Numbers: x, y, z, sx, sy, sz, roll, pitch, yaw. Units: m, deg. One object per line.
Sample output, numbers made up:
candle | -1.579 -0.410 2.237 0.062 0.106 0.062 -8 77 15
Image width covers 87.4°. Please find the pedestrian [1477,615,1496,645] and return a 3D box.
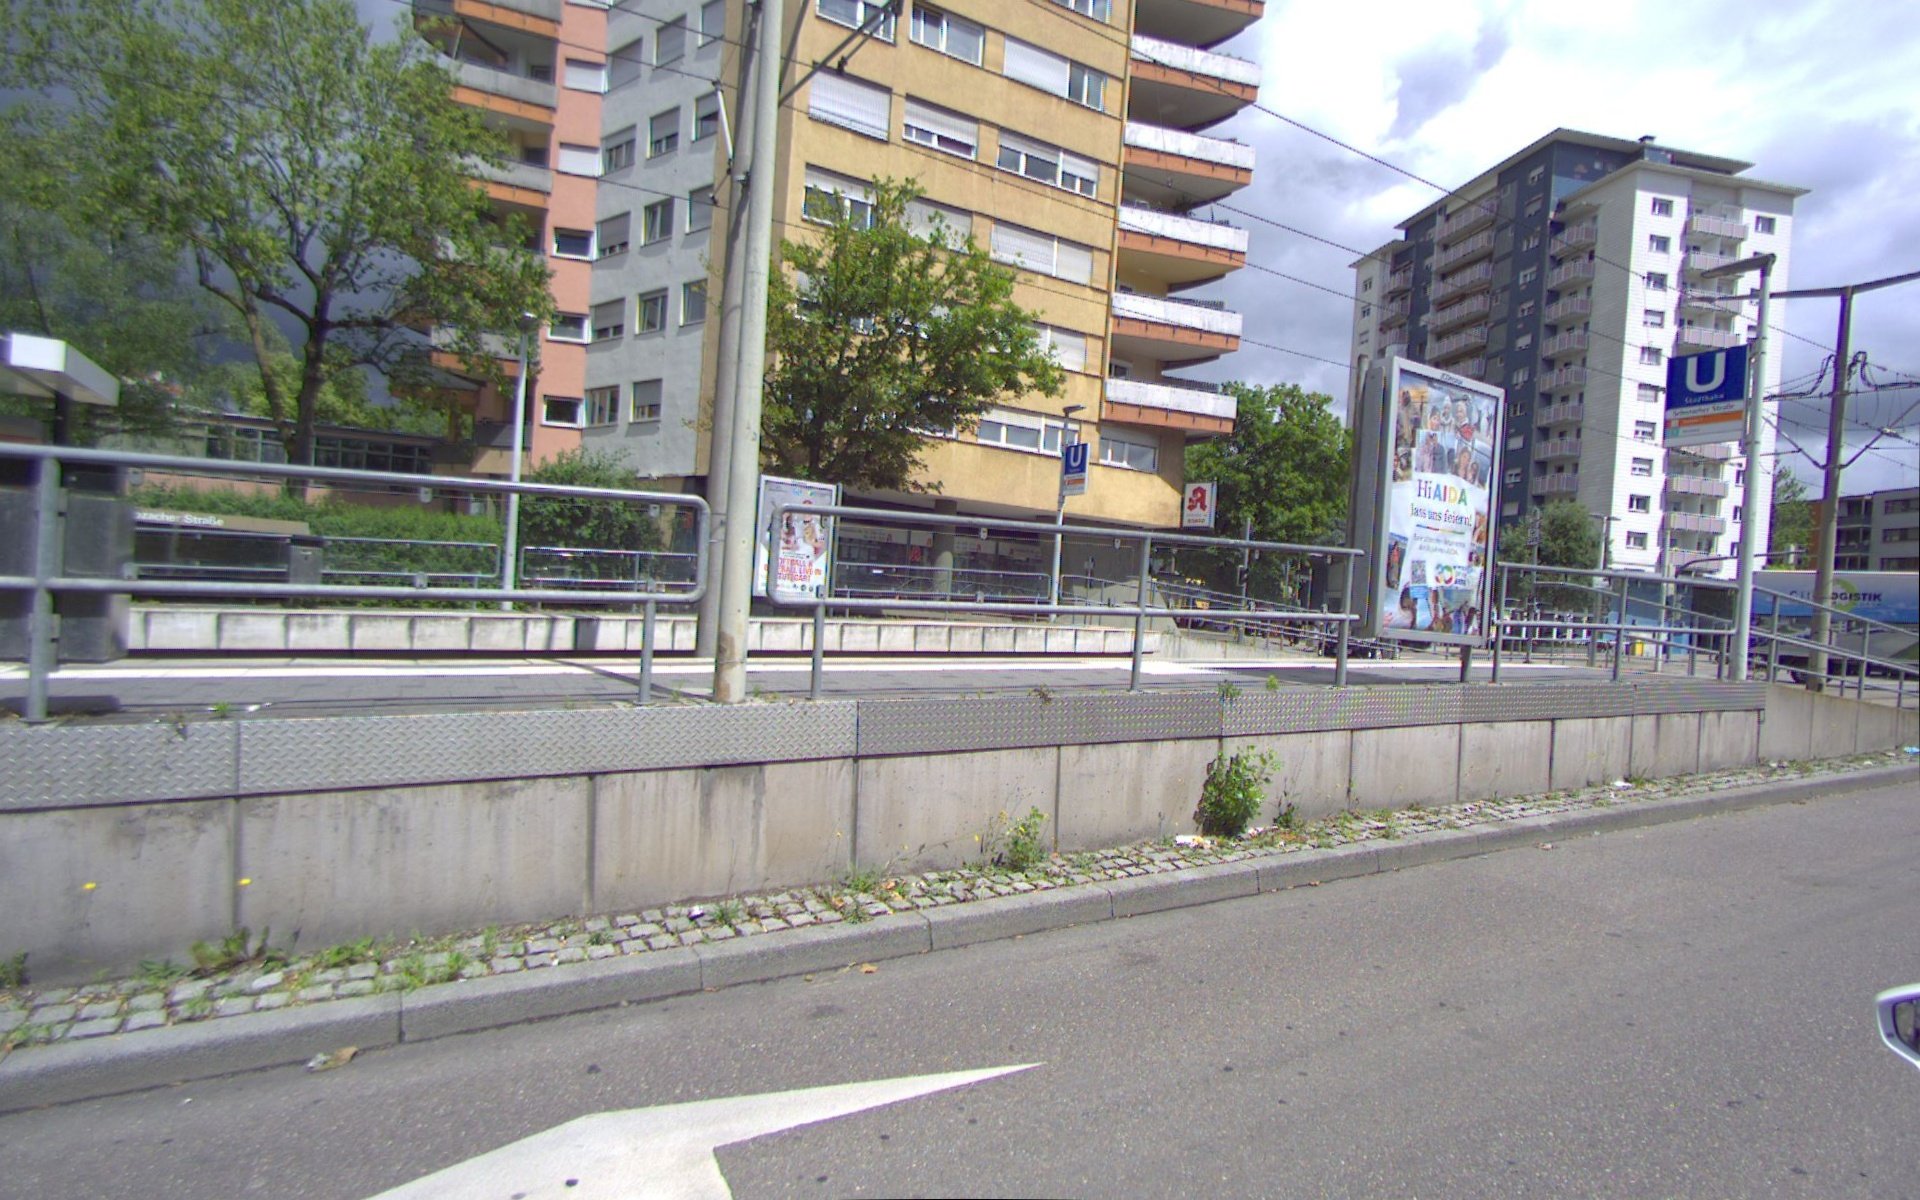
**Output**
pedestrian | 36.182 2.037 69.022 0.831 2.040 0.861 2 0 -2

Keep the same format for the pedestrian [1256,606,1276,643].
pedestrian | 12.033 0.960 39.507 0.541 1.459 0.497 2 0 -19

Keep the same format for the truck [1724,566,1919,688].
truck | 27.117 0.780 29.330 2.585 3.393 7.211 2 0 -38

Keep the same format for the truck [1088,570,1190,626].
truck | 7.987 -0.109 45.246 2.323 2.320 4.260 2 0 -29

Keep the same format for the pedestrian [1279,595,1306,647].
pedestrian | 11.643 0.736 35.200 0.649 1.799 0.658 2 0 -1

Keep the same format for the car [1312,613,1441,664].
car | 12.466 1.143 30.020 3.820 1.424 1.571 2 0 -30
